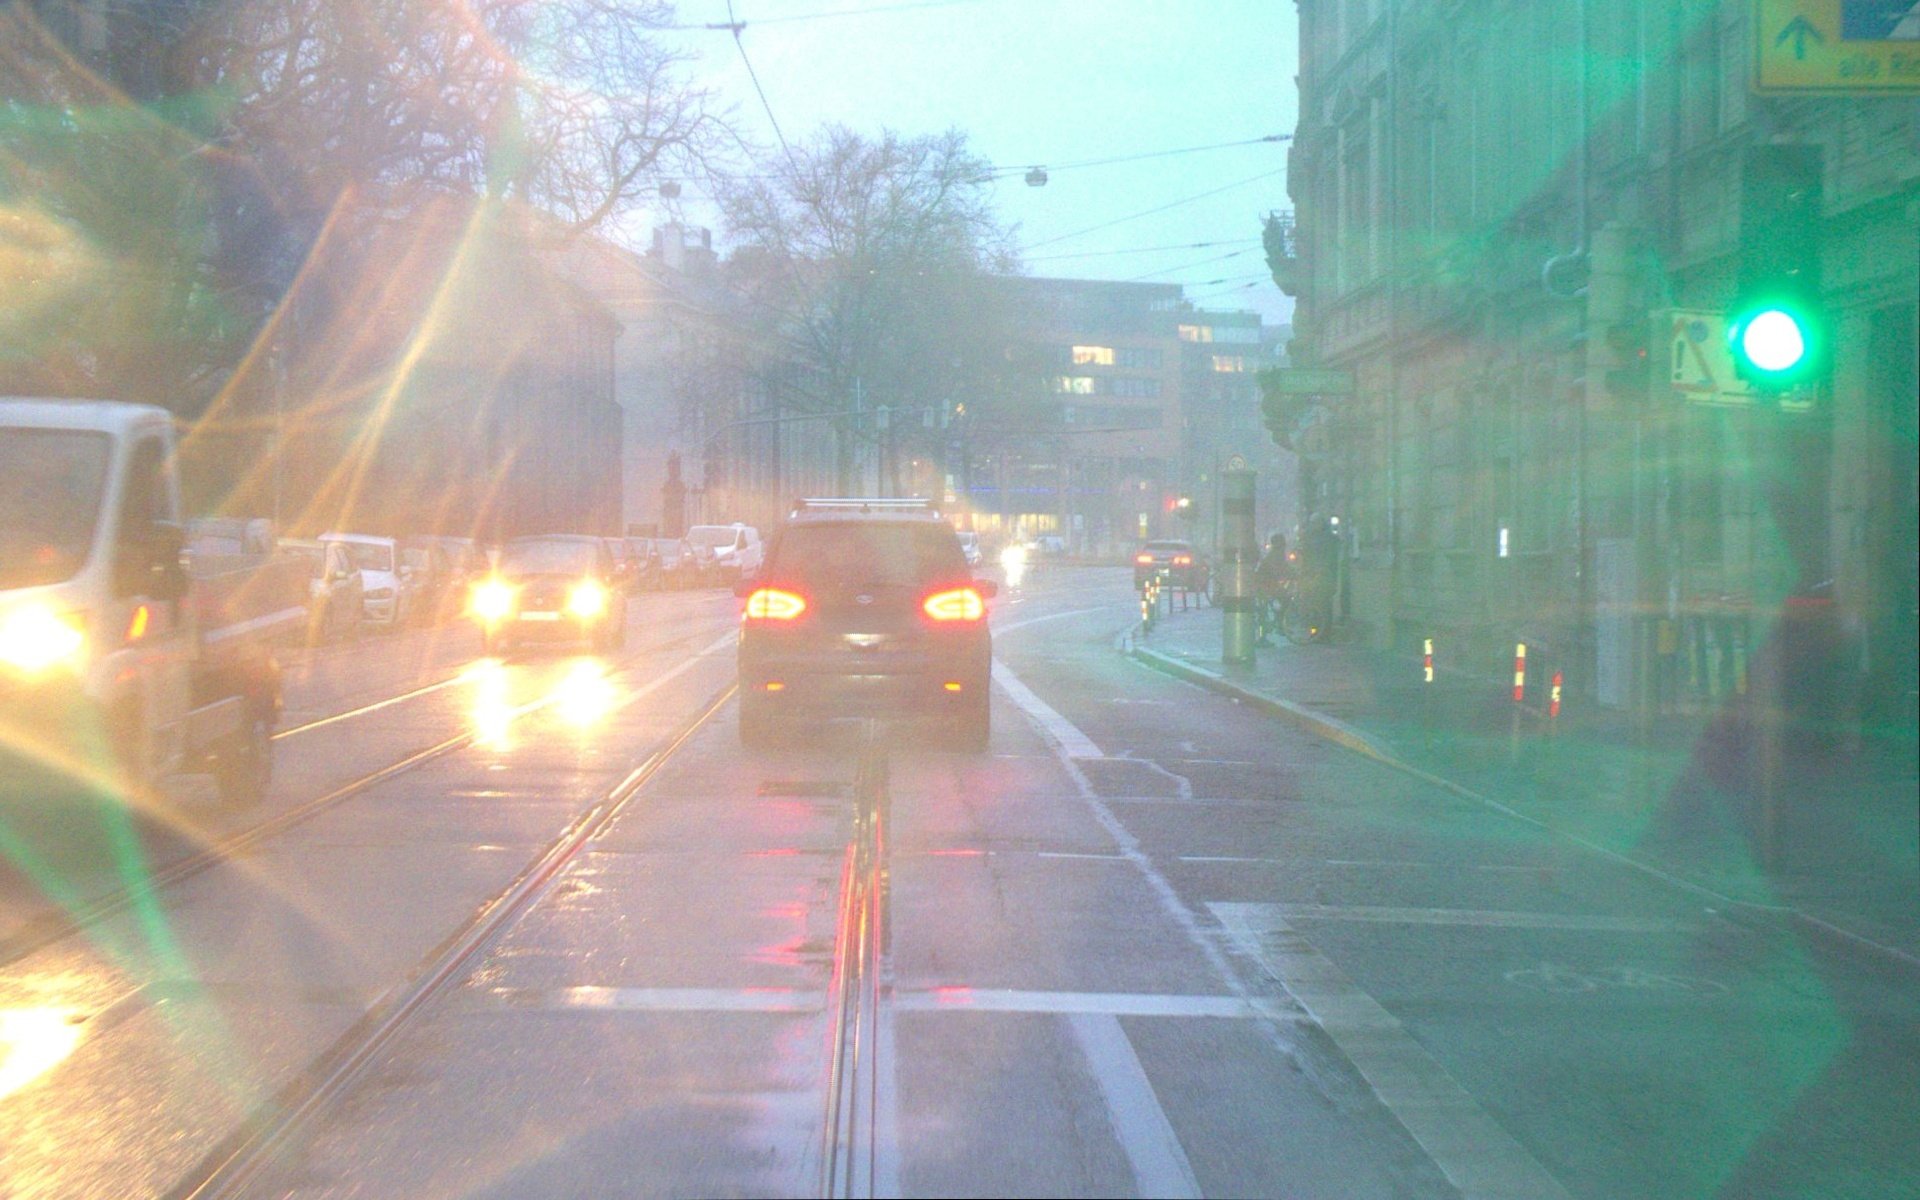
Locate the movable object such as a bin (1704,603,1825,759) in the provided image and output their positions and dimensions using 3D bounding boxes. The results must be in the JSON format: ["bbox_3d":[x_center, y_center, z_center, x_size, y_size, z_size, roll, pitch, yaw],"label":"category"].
[{"bbox_3d":[5.587,0.554,23.902,0.640,1.051,0.744,1,0,-1],"label":"movable object such as a bin"}]

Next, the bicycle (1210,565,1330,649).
[{"bbox_3d":[4.362,0.084,48.539,0.792,1.140,2.244,1,0,-20],"label":"bicycle"}]

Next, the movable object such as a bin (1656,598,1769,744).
[{"bbox_3d":[5.562,0.518,25.434,0.640,1.051,0.744,1,0,-1],"label":"movable object such as a bin"}]

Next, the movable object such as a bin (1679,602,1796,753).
[{"bbox_3d":[5.570,0.547,24.670,0.640,1.051,0.744,1,0,-1],"label":"movable object such as a bin"}]

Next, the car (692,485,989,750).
[{"bbox_3d":[-0.821,0.096,26.148,1.993,1.835,4.000,1,1,2],"label":"car"}]

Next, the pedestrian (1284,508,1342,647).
[{"bbox_3d":[5.002,-0.320,48.751,0.715,1.946,0.657,1,0,-1],"label":"pedestrian"}]

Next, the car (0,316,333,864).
[{"bbox_3d":[-4.937,-0.063,17.600,2.446,2.339,5.845,0,0,-1],"label":"car"}]

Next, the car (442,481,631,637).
[{"bbox_3d":[-5.713,-0.550,46.819,1.993,2.007,4.000,1,0,1],"label":"car"}]

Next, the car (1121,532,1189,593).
[{"bbox_3d":[6.078,-1.185,107.569,1.993,1.835,4.000,1,1,1],"label":"car"}]

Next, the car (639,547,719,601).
[{"bbox_3d":[-8.735,-0.804,107.134,1.984,1.610,4.429,1,0,1],"label":"car"}]

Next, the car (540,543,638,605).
[{"bbox_3d":[-10.066,-0.710,93.567,1.984,1.610,4.429,1,0,3],"label":"car"}]

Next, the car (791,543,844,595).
[{"bbox_3d":[-5.642,-1.220,136.491,1.993,2.007,4.000,1,0,-1],"label":"car"}]

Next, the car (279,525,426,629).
[{"bbox_3d":[-9.938,-0.383,56.537,1.983,1.610,4.430,1,0,-5],"label":"car"}]

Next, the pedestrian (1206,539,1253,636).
[{"bbox_3d":[4.939,-0.231,63.090,0.771,1.769,0.685,1,0,-1],"label":"pedestrian"}]

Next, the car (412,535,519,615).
[{"bbox_3d":[-10.382,-0.531,72.476,1.983,1.610,4.430,1,0,-5],"label":"car"}]

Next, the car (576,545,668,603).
[{"bbox_3d":[-9.669,-0.748,98.695,1.984,1.610,4.429,1,0,3],"label":"car"}]

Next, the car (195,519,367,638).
[{"bbox_3d":[-9.787,-0.322,49.843,1.983,1.610,4.430,1,0,-5],"label":"car"}]
